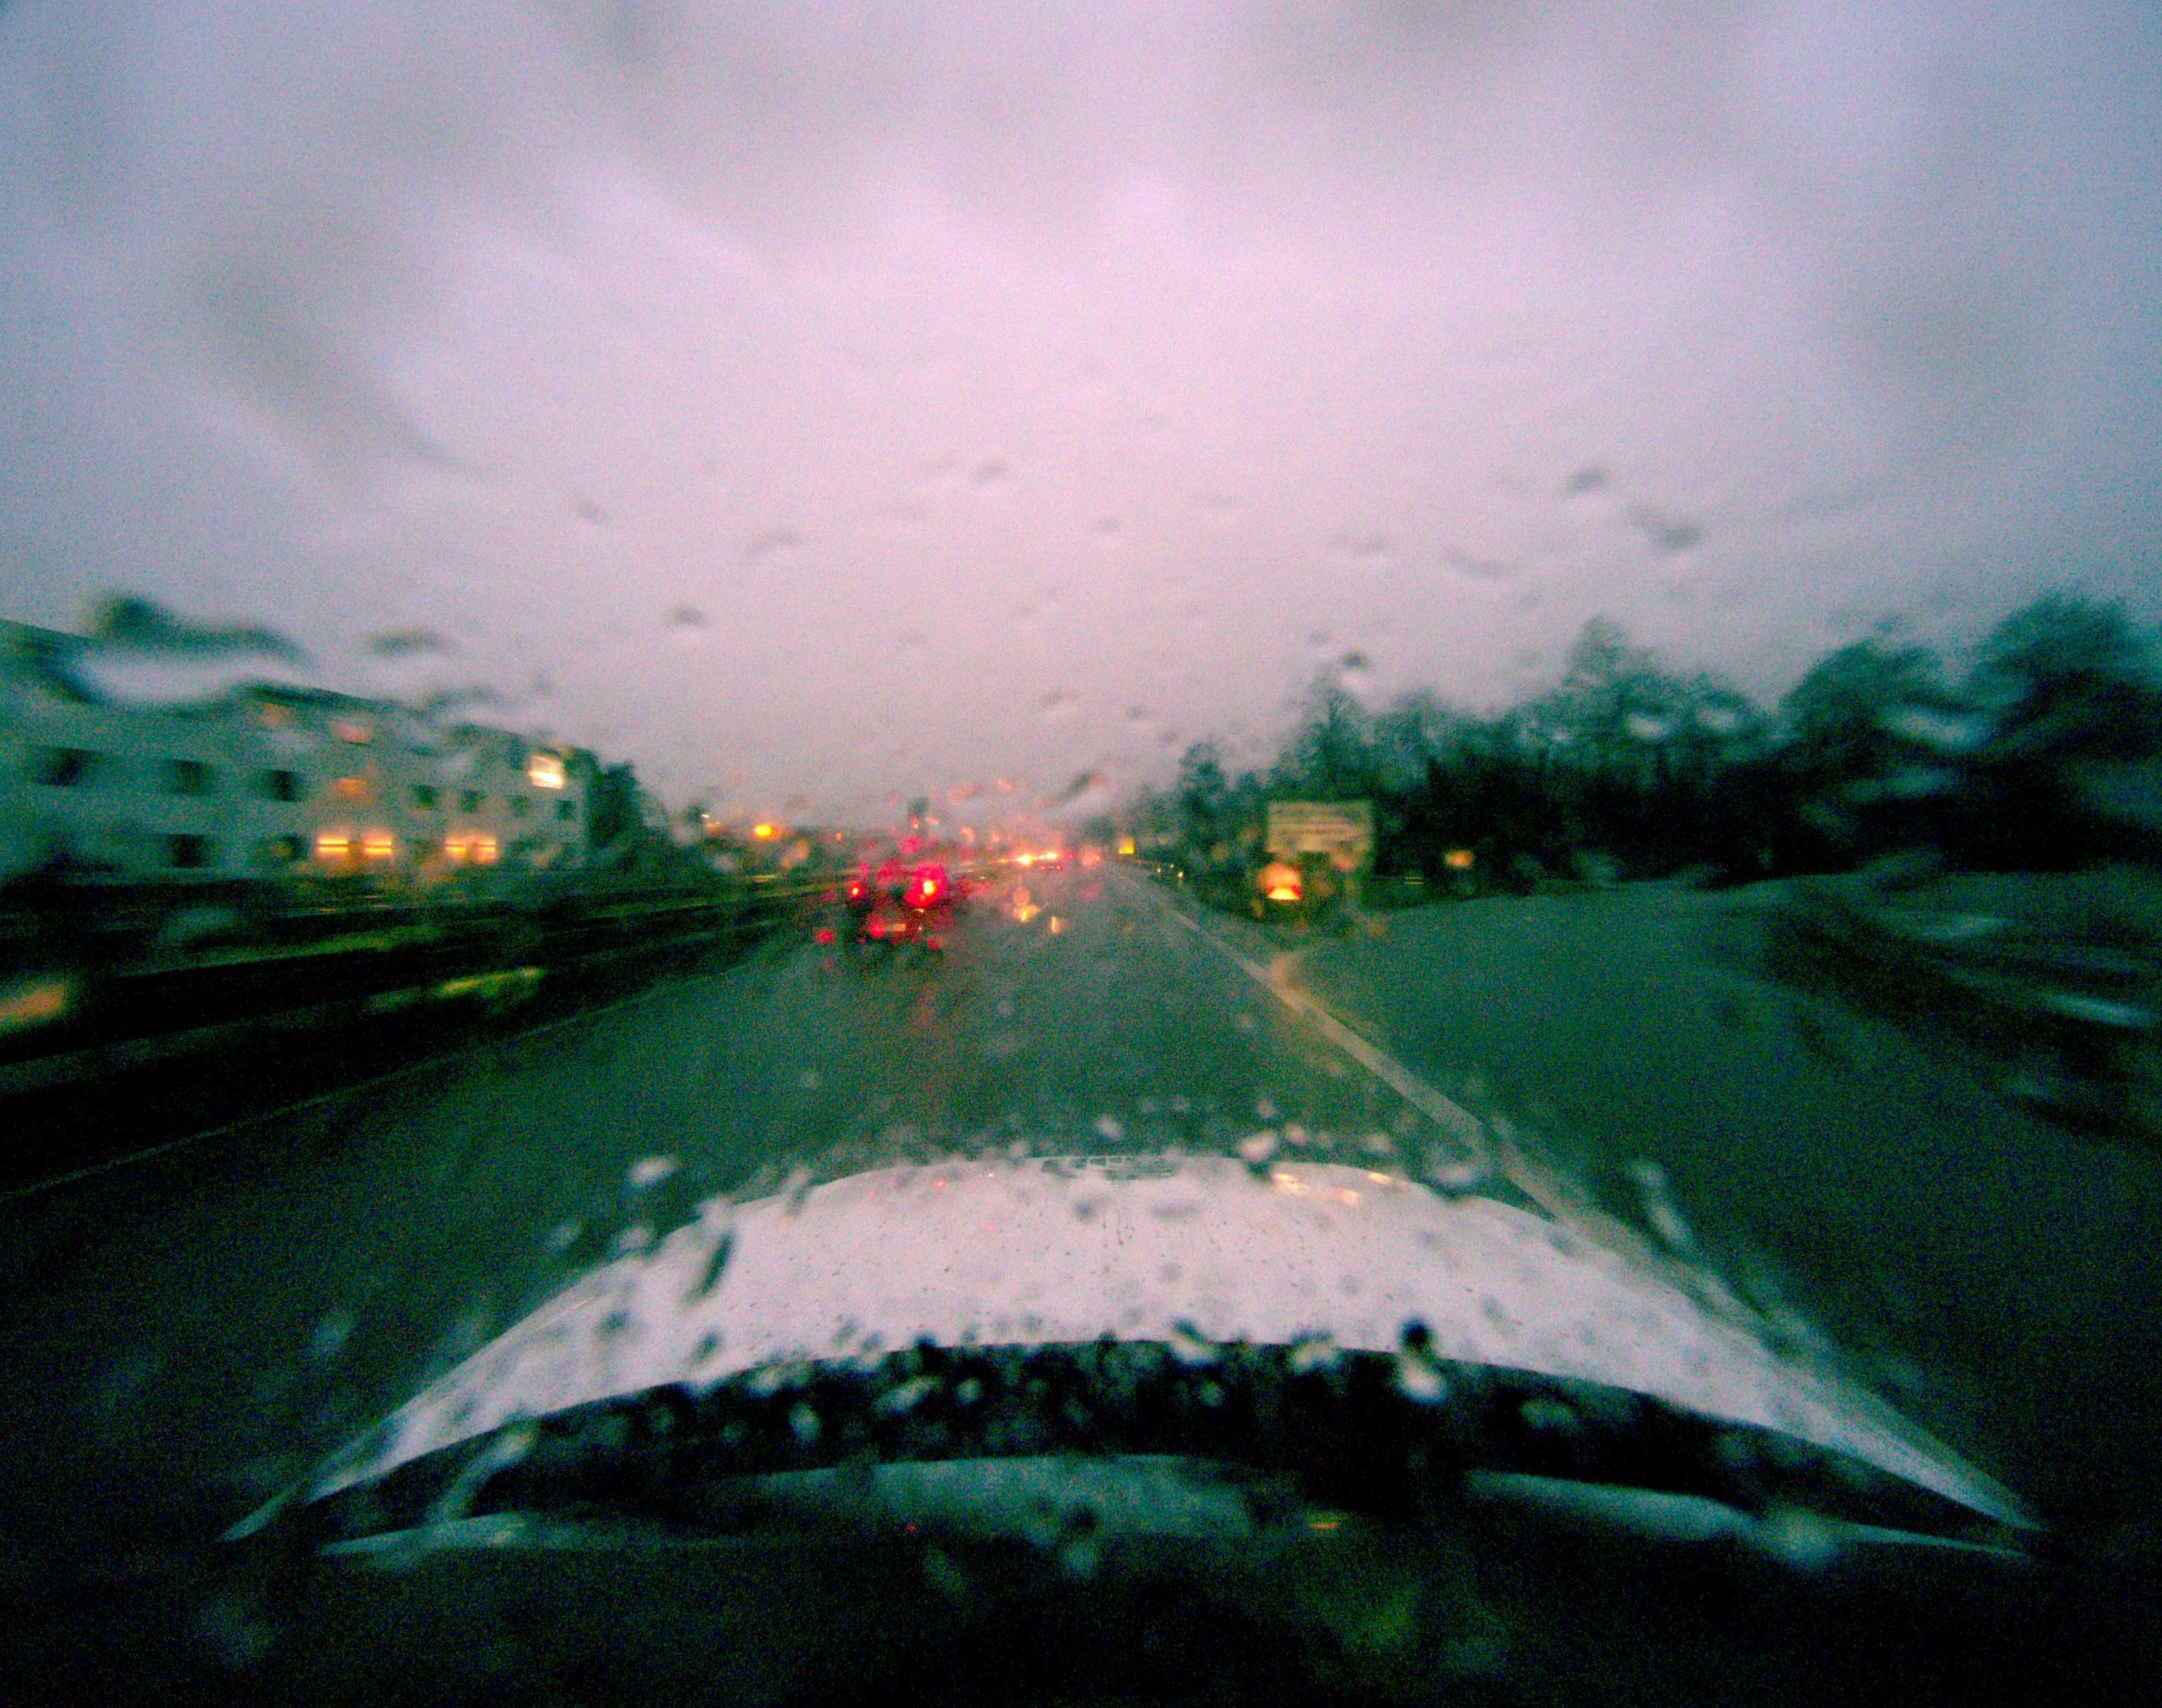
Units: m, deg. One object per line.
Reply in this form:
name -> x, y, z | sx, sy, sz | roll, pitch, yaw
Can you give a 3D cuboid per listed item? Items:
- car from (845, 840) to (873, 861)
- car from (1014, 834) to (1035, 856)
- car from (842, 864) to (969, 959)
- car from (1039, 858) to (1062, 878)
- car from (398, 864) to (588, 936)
car -> -20.642, -0.331, 75.744 | 1.888, 1.821, 3.865 | 2, 0, -6
car -> -5.877, -0.913, 84.432 | 2.119, 2.121, 3.569 | 0, -1, -5
car -> -3.063, 0.950, 14.848 | 1.522, 1.415, 3.478 | 1, 0, 0
car -> -2.475, 1.093, 66.753 | 1.771, 1.534, 4.700 | -2, 0, -1
car -> -13.245, 0.978, 18.632 | 1.604, 1.400, 3.622 | -1, 0, 2
